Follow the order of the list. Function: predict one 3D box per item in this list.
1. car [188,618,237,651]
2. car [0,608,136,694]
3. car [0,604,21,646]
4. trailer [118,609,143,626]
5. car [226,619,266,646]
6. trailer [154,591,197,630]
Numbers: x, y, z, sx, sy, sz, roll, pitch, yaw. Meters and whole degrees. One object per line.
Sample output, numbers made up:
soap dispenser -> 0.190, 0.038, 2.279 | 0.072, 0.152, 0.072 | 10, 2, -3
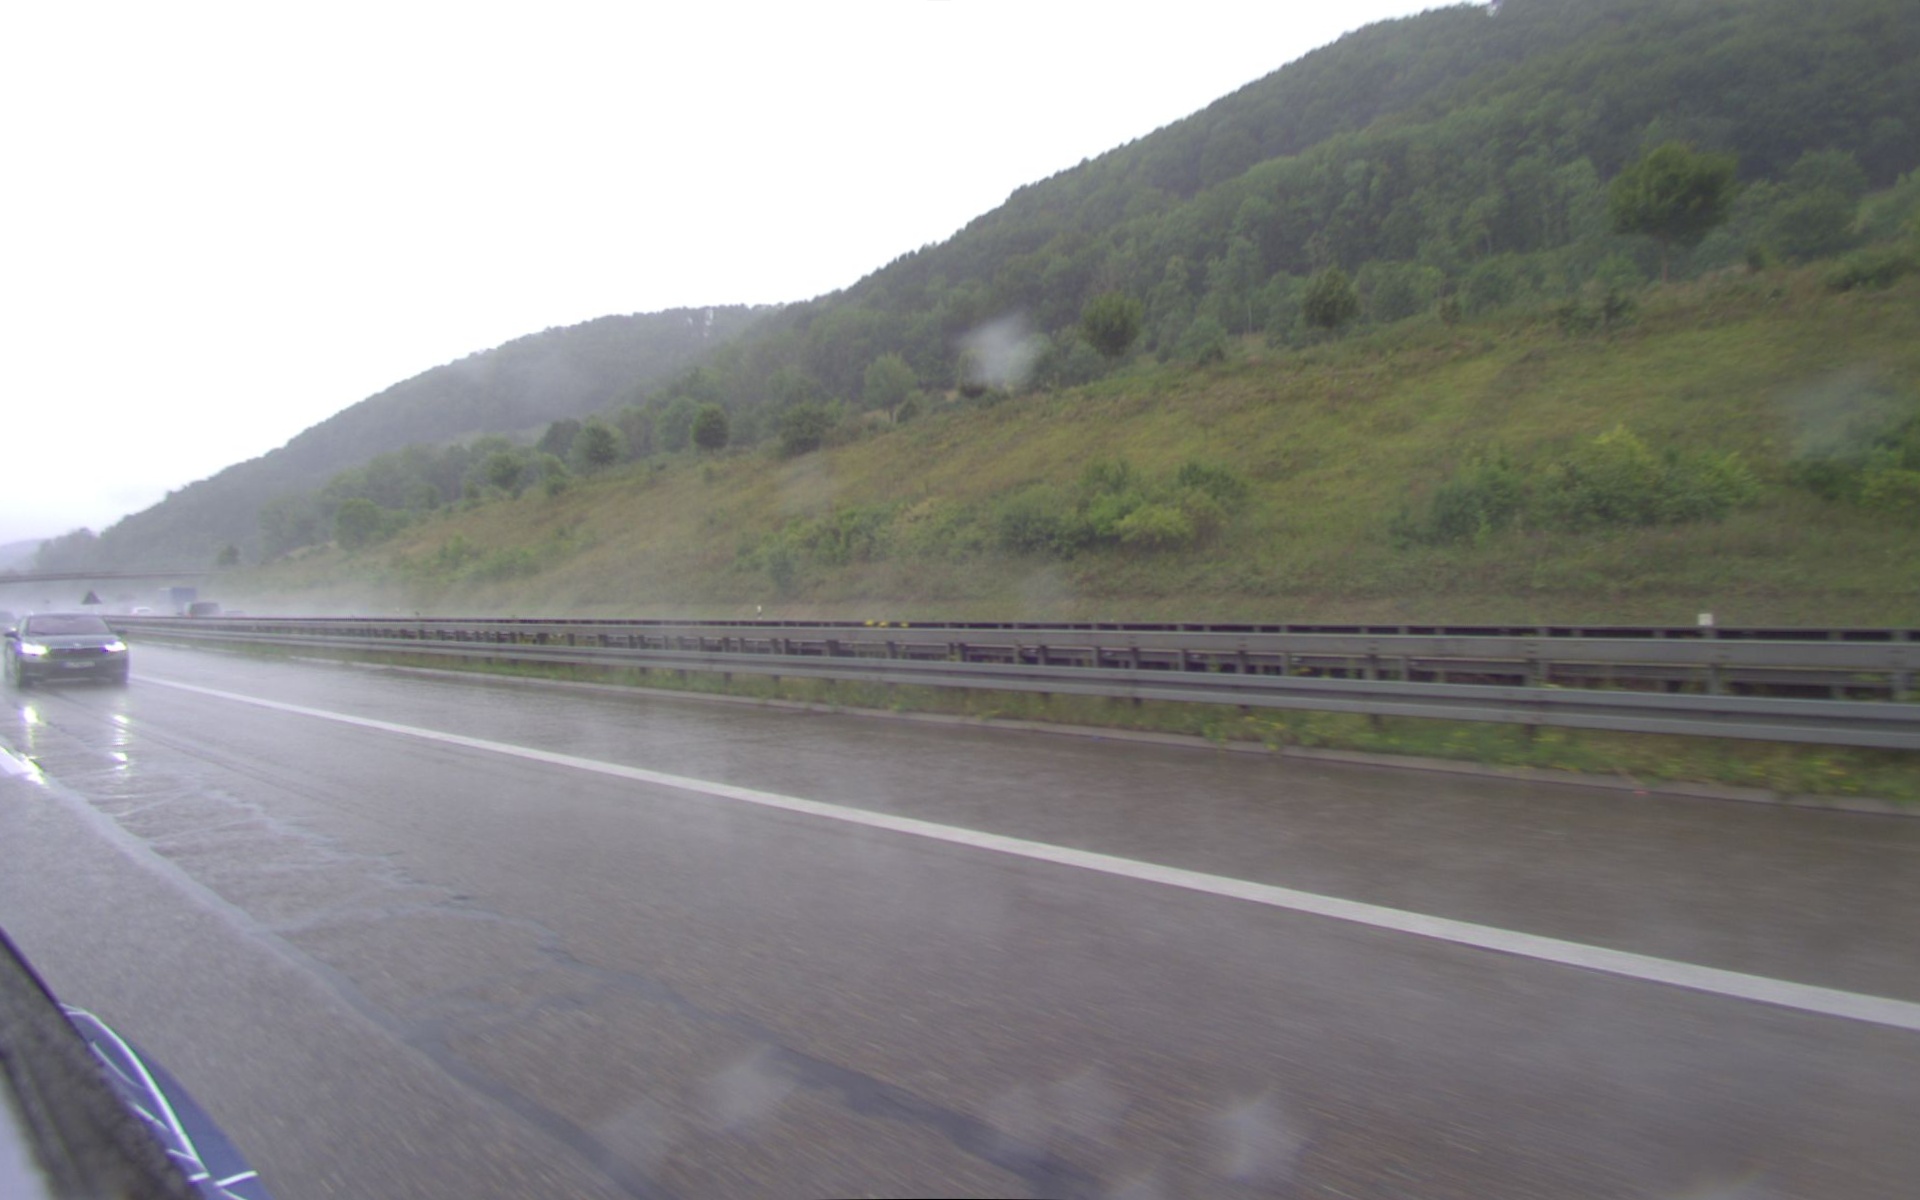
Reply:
car -> -48.748, 2.239, 66.005 | 3.998, 2.029, 1.775 | -1, -1, 42
car -> -20.149, 1.053, 22.498 | 4.906, 1.696, 1.973 | -1, -2, 41
car -> -40.900, 1.066, 42.520 | 3.748, 1.715, 1.791 | -1, 0, 42
trailer -> -161.806, 3.423, 197.378 | 2.780, 3.076, 14.914 | -1, 0, -43
car -> -54.758, 2.475, 77.587 | 4.001, 2.029, 1.770 | -1, -1, 44
trailer -> -102.431, 1.409, 132.015 | 14.049, 4.822, 2.705 | -1, 0, 45
